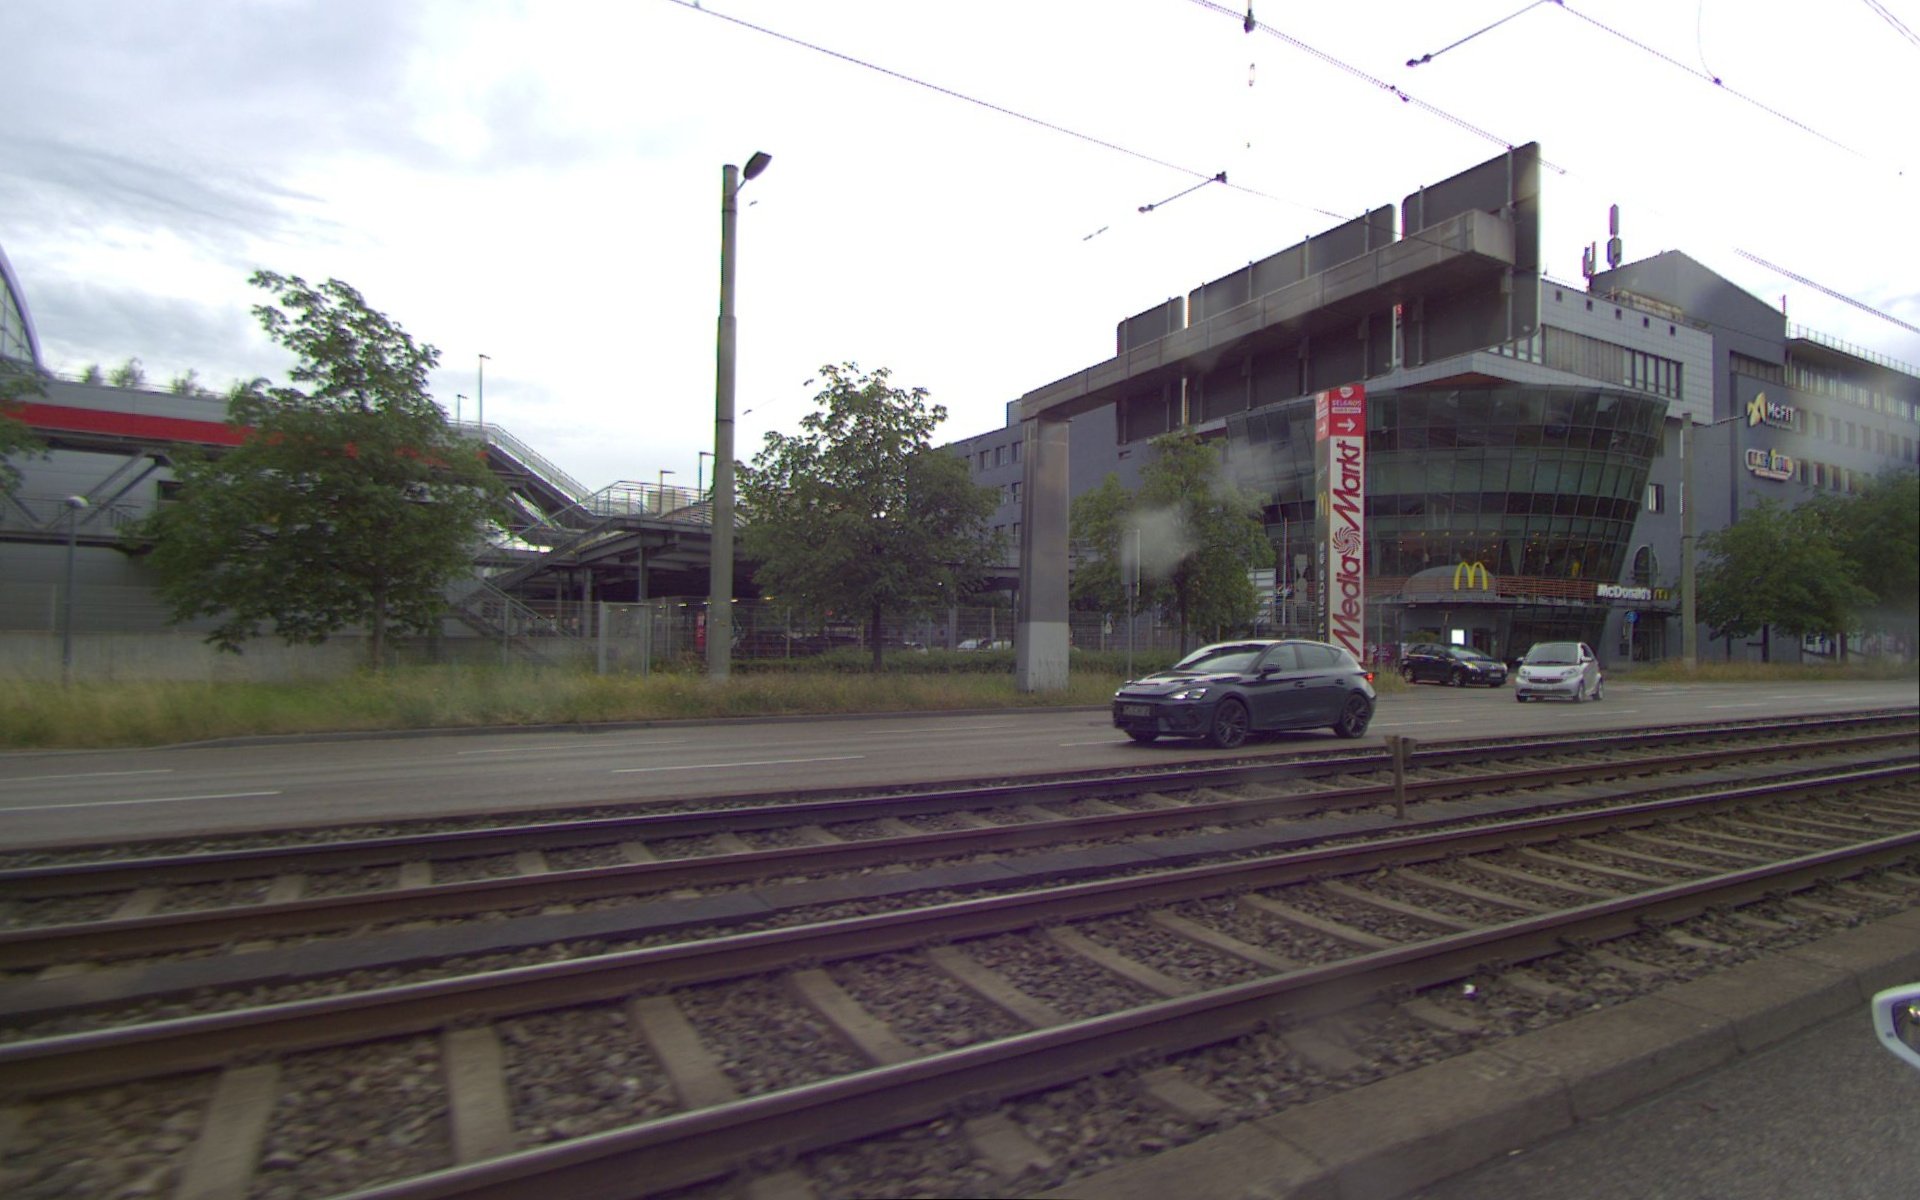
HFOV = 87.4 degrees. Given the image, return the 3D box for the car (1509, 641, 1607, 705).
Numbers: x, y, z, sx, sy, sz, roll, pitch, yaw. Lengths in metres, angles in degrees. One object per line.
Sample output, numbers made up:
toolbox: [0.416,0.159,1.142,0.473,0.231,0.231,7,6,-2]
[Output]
car: [15.645,1.871,26.238,1.581,1.557,2.935,-4,-4,42]

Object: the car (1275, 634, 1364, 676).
car: [18.548,2.814,51.964,1.980,2.040,3.961,2,-2,-35]

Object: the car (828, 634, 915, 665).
car: [-4.445,2.478,50.637,4.025,1.299,1.665,2,0,10]

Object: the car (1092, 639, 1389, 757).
car: [4.050,1.294,14.288,4.192,1.447,1.792,2,-3,-34]

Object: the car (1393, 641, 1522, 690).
car: [18.731,2.454,38.038,1.969,1.758,4.195,2,-3,-19]
